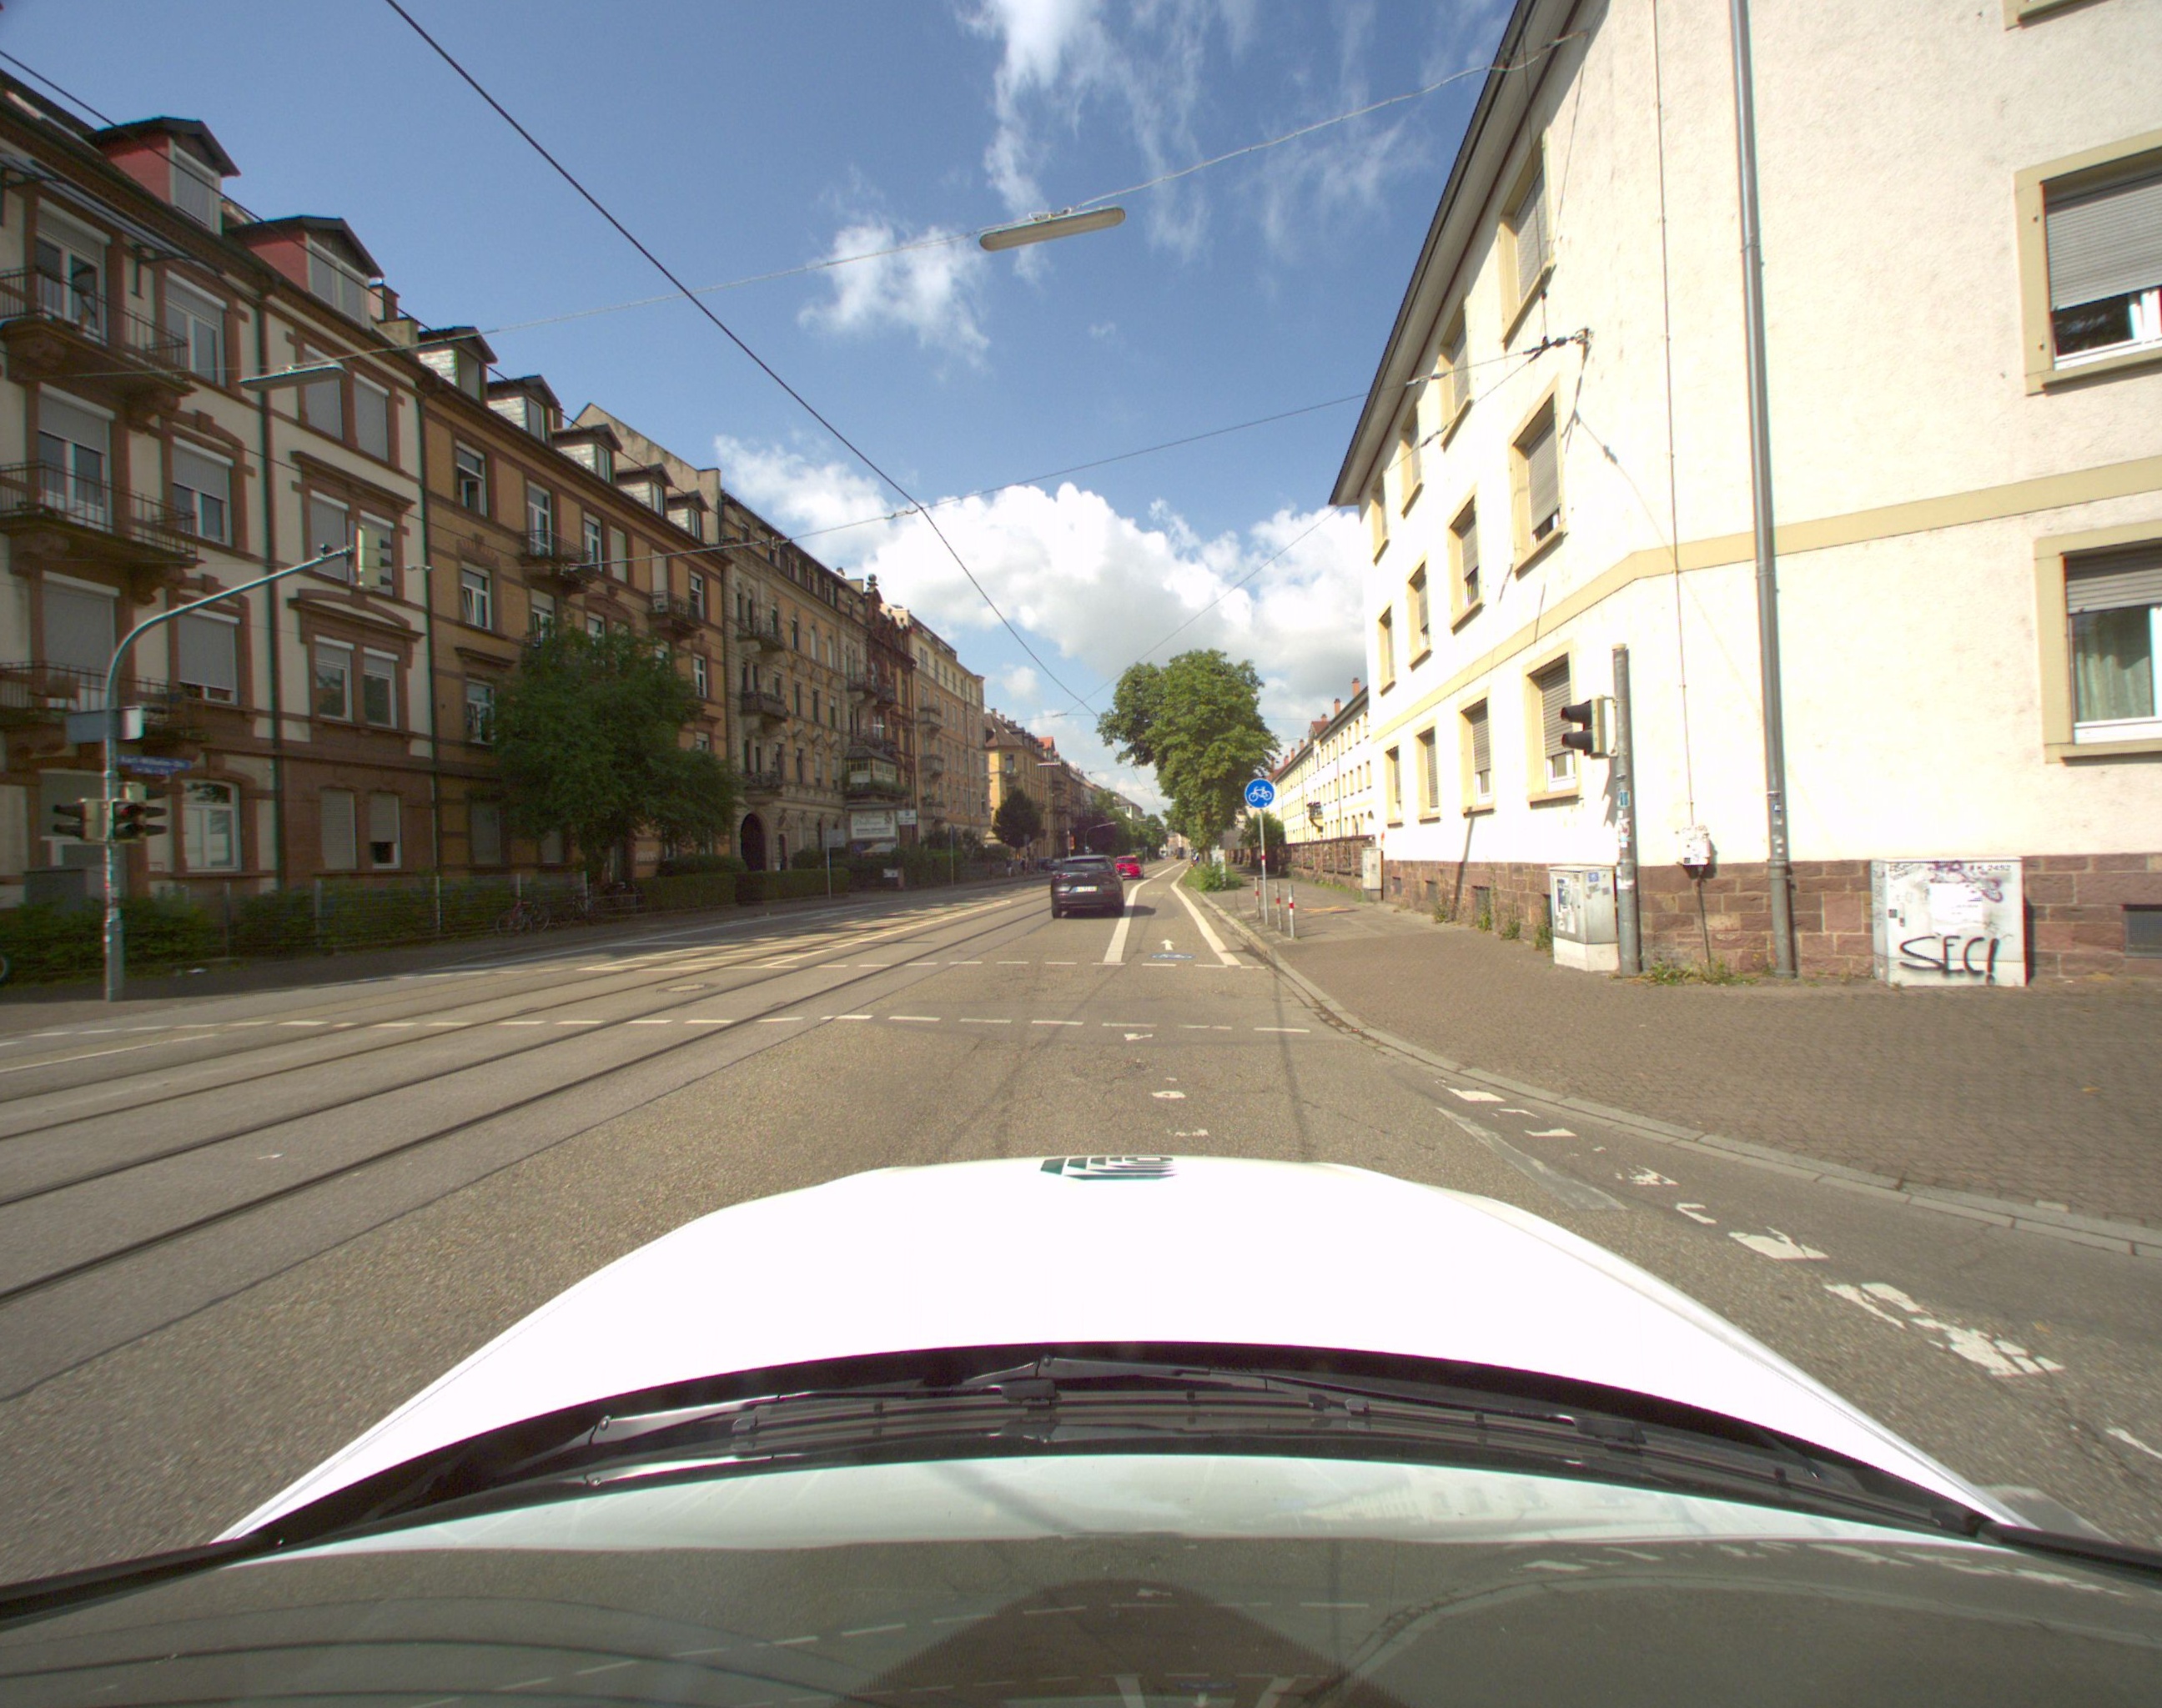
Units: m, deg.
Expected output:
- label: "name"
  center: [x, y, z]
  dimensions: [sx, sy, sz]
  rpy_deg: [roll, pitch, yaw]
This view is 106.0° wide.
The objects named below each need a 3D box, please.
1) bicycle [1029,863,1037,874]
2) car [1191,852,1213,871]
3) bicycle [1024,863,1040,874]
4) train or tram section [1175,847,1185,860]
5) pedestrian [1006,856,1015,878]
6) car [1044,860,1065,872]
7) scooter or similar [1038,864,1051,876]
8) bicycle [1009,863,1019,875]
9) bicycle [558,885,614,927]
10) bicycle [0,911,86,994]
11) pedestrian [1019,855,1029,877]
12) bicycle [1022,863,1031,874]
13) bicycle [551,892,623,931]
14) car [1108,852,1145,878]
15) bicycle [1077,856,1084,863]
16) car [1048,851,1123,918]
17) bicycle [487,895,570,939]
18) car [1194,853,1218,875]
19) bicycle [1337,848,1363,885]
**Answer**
- label: "bicycle"
  center: [-4.480, 1.314, 76.041]
  dimensions: [0.419, 0.976, 1.953]
  rpy_deg: [-3, -1, 8]
- label: "car"
  center: [11.100, 0.702, 74.964]
  dimensions: [1.852, 1.653, 4.648]
  rpy_deg: [-3, -1, 8]
- label: "bicycle"
  center: [-4.698, 1.344, 77.632]
  dimensions: [1.444, 0.976, 0.405]
  rpy_deg: [-3, -1, 7]
- label: "train or tram section"
  center: [28.749, -0.186, 235.759]
  dimensions: [2.557, 3.772, 13.054]
  rpy_deg: [-3, 0, 8]
- label: "pedestrian"
  center: [-5.619, 1.010, 64.844]
  dimensions: [0.485, 1.703, 1.153]
  rpy_deg: [-2, -1, 6]
- label: "car"
  center: [-3.254, 1.484, 101.560]
  dimensions: [1.676, 1.459, 4.775]
  rpy_deg: [-3, -1, 8]
- label: "scooter or similar"
  center: [-3.871, 1.703, 86.350]
  dimensions: [1.366, 1.235, 0.401]
  rpy_deg: [-1, -1, -21]
- label: "bicycle"
  center: [-5.649, 1.248, 68.463]
  dimensions: [0.419, 0.932, 1.953]
  rpy_deg: [-3, -1, 8]
- label: "bicycle"
  center: [-14.211, 1.480, 23.376]
  dimensions: [1.298, 1.131, 0.498]
  rpy_deg: [-3, -1, 6]
- label: "bicycle"
  center: [-17.060, 1.571, 12.646]
  dimensions: [1.965, 1.225, 0.477]
  rpy_deg: [-2, -1, -44]
- label: "pedestrian"
  center: [-4.567, 0.934, 65.261]
  dimensions: [0.530, 1.760, 1.108]
  rpy_deg: [0, -1, 8]
- label: "bicycle"
  center: [-4.945, 1.311, 73.553]
  dimensions: [0.419, 0.976, 1.953]
  rpy_deg: [-3, -1, 8]
- label: "bicycle"
  center: [-13.463, 1.549, 22.254]
  dimensions: [0.555, 0.932, 1.831]
  rpy_deg: [-3, -1, 11]
- label: "car"
  center: [2.907, 0.675, 51.349]
  dimensions: [1.982, 1.529, 4.009]
  rpy_deg: [0, -1, 8]
- label: "bicycle"
  center: [-0.047, 0.690, 107.481]
  dimensions: [0.527, 0.946, 1.972]
  rpy_deg: [-3, -1, 8]
- label: "car"
  center: [0.206, 0.725, 21.174]
  dimensions: [1.713, 1.526, 3.592]
  rpy_deg: [-3, 0, 3]
- label: "bicycle"
  center: [-13.830, 1.558, 20.448]
  dimensions: [0.555, 0.932, 1.831]
  rpy_deg: [-3, -1, 11]
- label: "car"
  center: [9.827, 0.749, 64.238]
  dimensions: [1.732, 1.581, 4.257]
  rpy_deg: [-2, -1, 7]
- label: "bicycle"
  center: [9.147, 0.423, 27.693]
  dimensions: [0.502, 1.200, 1.494]
  rpy_deg: [-2, 0, 7]
